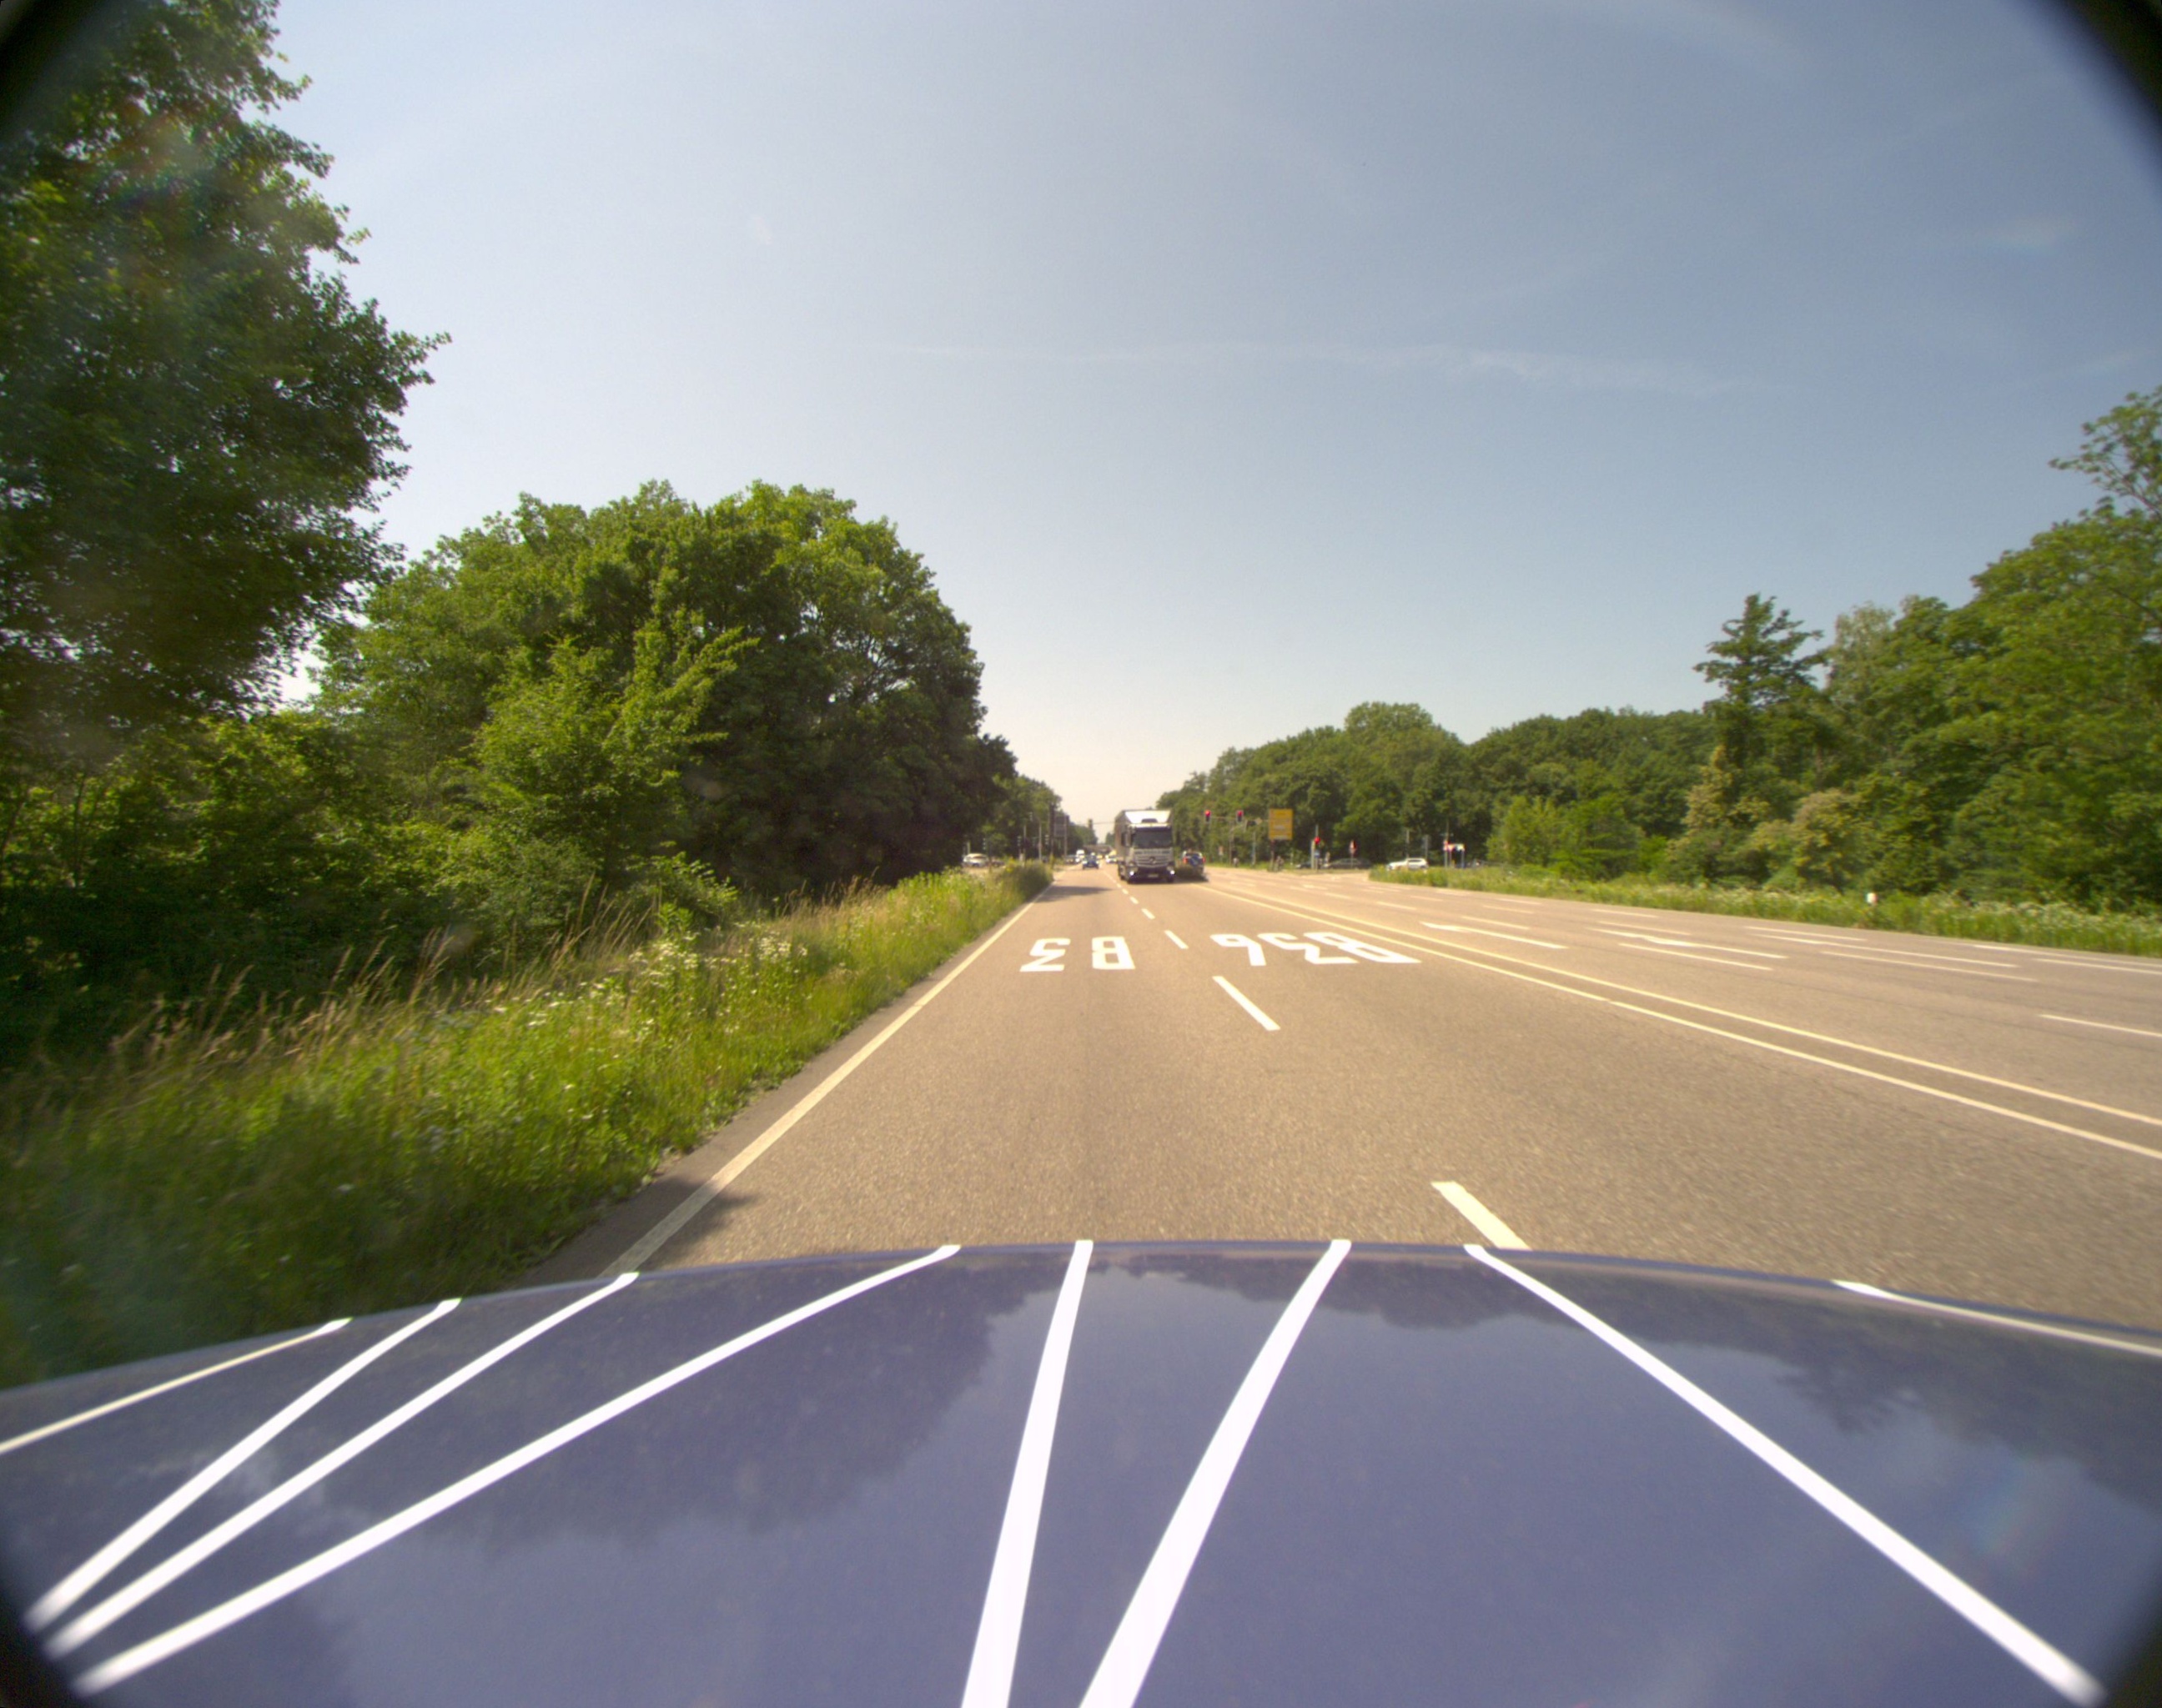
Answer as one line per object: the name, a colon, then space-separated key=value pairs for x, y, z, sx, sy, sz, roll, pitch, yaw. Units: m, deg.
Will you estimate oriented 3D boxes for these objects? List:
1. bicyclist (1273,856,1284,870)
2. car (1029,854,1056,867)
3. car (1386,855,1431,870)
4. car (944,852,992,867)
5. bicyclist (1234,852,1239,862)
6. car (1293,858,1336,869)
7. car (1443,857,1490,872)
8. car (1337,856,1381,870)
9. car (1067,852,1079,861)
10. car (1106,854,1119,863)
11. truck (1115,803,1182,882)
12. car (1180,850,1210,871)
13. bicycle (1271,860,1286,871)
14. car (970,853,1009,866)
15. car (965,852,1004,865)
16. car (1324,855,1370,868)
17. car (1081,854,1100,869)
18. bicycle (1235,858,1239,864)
bicyclist: x=20.157 y=0.893 z=77.519 sx=0.924 sy=1.451 sz=0.718 roll=1 pitch=1 yaw=39
car: x=-5.580 y=0.946 z=109.728 sx=1.737 sy=1.681 sz=3.743 roll=0 pitch=1 yaw=41
car: x=41.103 y=1.052 z=95.405 sx=4.816 sy=1.884 sz=2.066 roll=1 pitch=0 yaw=2
car: x=-12.228 y=0.608 z=82.402 sx=4.943 sy=1.490 sz=2.020 roll=0 pitch=1 yaw=2
bicyclist: x=22.241 y=0.458 z=108.432 sx=0.660 sy=1.456 sz=0.810 roll=1 pitch=1 yaw=10
car: x=29.312 y=1.129 z=95.543 sx=4.816 sy=1.283 sz=2.106 roll=1 pitch=0 yaw=2
car: x=48.244 y=1.283 z=95.164 sx=4.817 sy=1.747 sz=2.000 roll=1 pitch=0 yaw=0
car: x=34.938 y=1.116 z=95.454 sx=4.815 sy=1.626 sz=2.001 roll=1 pitch=0 yaw=5
car: x=-1.250 y=0.388 z=123.164 sx=1.796 sy=1.431 sz=4.228 roll=0 pitch=0 yaw=0
car: x=5.346 y=0.790 z=129.835 sx=1.998 sy=1.543 sz=4.000 roll=1 pitch=0 yaw=1
truck: x=3.586 y=-0.575 z=43.127 sx=2.753 sy=3.862 sz=11.320 roll=-1 pitch=0 yaw=0
car: x=9.884 y=0.551 z=66.214 sx=1.998 sy=1.668 sz=5.366 roll=2 pitch=0 yaw=2
bicycle: x=20.176 y=1.170 z=77.526 sx=0.722 sy=1.057 sz=1.874 roll=1 pitch=0 yaw=39
car: x=-10.344 y=0.599 z=85.943 sx=4.102 sy=1.438 sz=1.995 roll=1 pitch=0 yaw=-1
car: x=-11.380 y=0.537 z=89.823 sx=4.430 sy=1.526 sz=2.000 roll=1 pitch=0 yaw=0
car: x=31.948 y=0.875 z=91.402 sx=4.817 sy=1.510 sz=1.862 roll=1 pitch=0 yaw=0
car: x=0.969 y=0.779 z=81.940 sx=1.992 sy=1.575 sz=4.364 roll=0 pitch=0 yaw=0
bicycle: x=22.222 y=1.021 z=108.439 sx=0.566 sy=0.918 sz=1.606 roll=1 pitch=0 yaw=11
